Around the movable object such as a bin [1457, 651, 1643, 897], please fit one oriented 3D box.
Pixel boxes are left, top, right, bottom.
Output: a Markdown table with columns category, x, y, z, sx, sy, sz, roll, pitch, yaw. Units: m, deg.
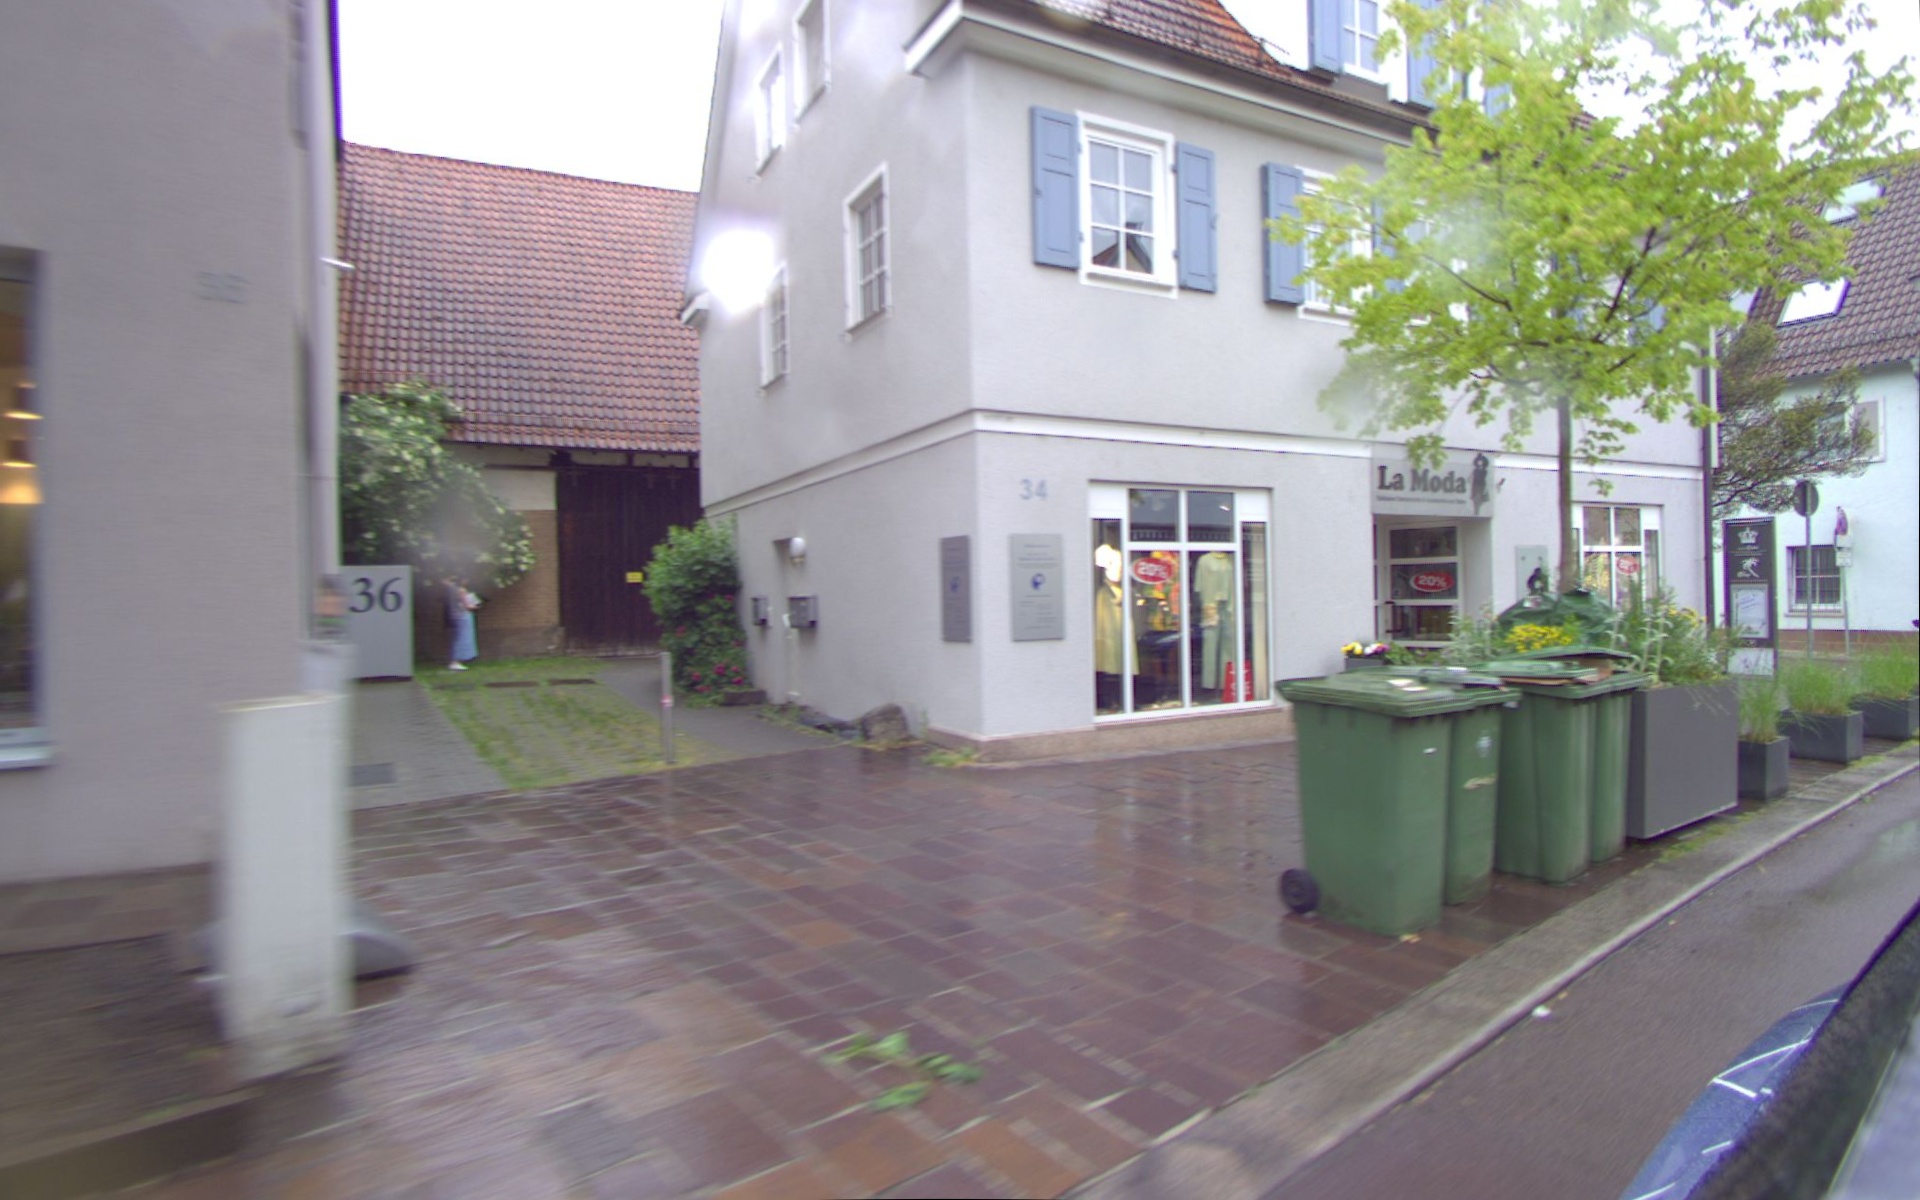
| category | x | y | z | sx | sy | sz | roll | pitch | yaw |
| --- | --- | --- | --- | --- | --- | --- | --- | --- | --- |
| movable object such as a bin | 3.033 | 0.843 | 5.214 | 0.569 | 1.118 | 0.632 | -2 | 0 | -40 |

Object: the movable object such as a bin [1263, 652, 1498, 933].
| category | x | y | z | sx | sy | sz | roll | pitch | yaw |
| --- | --- | --- | --- | --- | --- | --- | --- | --- | --- |
| movable object such as a bin | 1.896 | 0.805 | 4.594 | 0.637 | 1.087 | 0.723 | -2 | 0 | -36 |

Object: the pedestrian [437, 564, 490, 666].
| category | x | y | z | sx | sy | sz | roll | pitch | yaw |
| --- | --- | --- | --- | --- | --- | --- | --- | --- | --- |
| pedestrian | -8.762 | 0.258 | 17.882 | 0.671 | 1.738 | 0.714 | -2 | 0 | -17 |

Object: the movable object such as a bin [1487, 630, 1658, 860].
| category | x | y | z | sx | sy | sz | roll | pitch | yaw |
| --- | --- | --- | --- | --- | --- | --- | --- | --- | --- |
| movable object such as a bin | 3.443 | 0.770 | 5.698 | 0.569 | 1.165 | 0.632 | -2 | 0 | -40 |

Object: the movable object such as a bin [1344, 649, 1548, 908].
| category | x | y | z | sx | sy | sz | roll | pitch | yaw |
| --- | --- | --- | --- | --- | --- | --- | --- | --- | --- |
| movable object such as a bin | 2.386 | 0.823 | 4.988 | 0.569 | 1.117 | 0.679 | -2 | 0 | -36 |
